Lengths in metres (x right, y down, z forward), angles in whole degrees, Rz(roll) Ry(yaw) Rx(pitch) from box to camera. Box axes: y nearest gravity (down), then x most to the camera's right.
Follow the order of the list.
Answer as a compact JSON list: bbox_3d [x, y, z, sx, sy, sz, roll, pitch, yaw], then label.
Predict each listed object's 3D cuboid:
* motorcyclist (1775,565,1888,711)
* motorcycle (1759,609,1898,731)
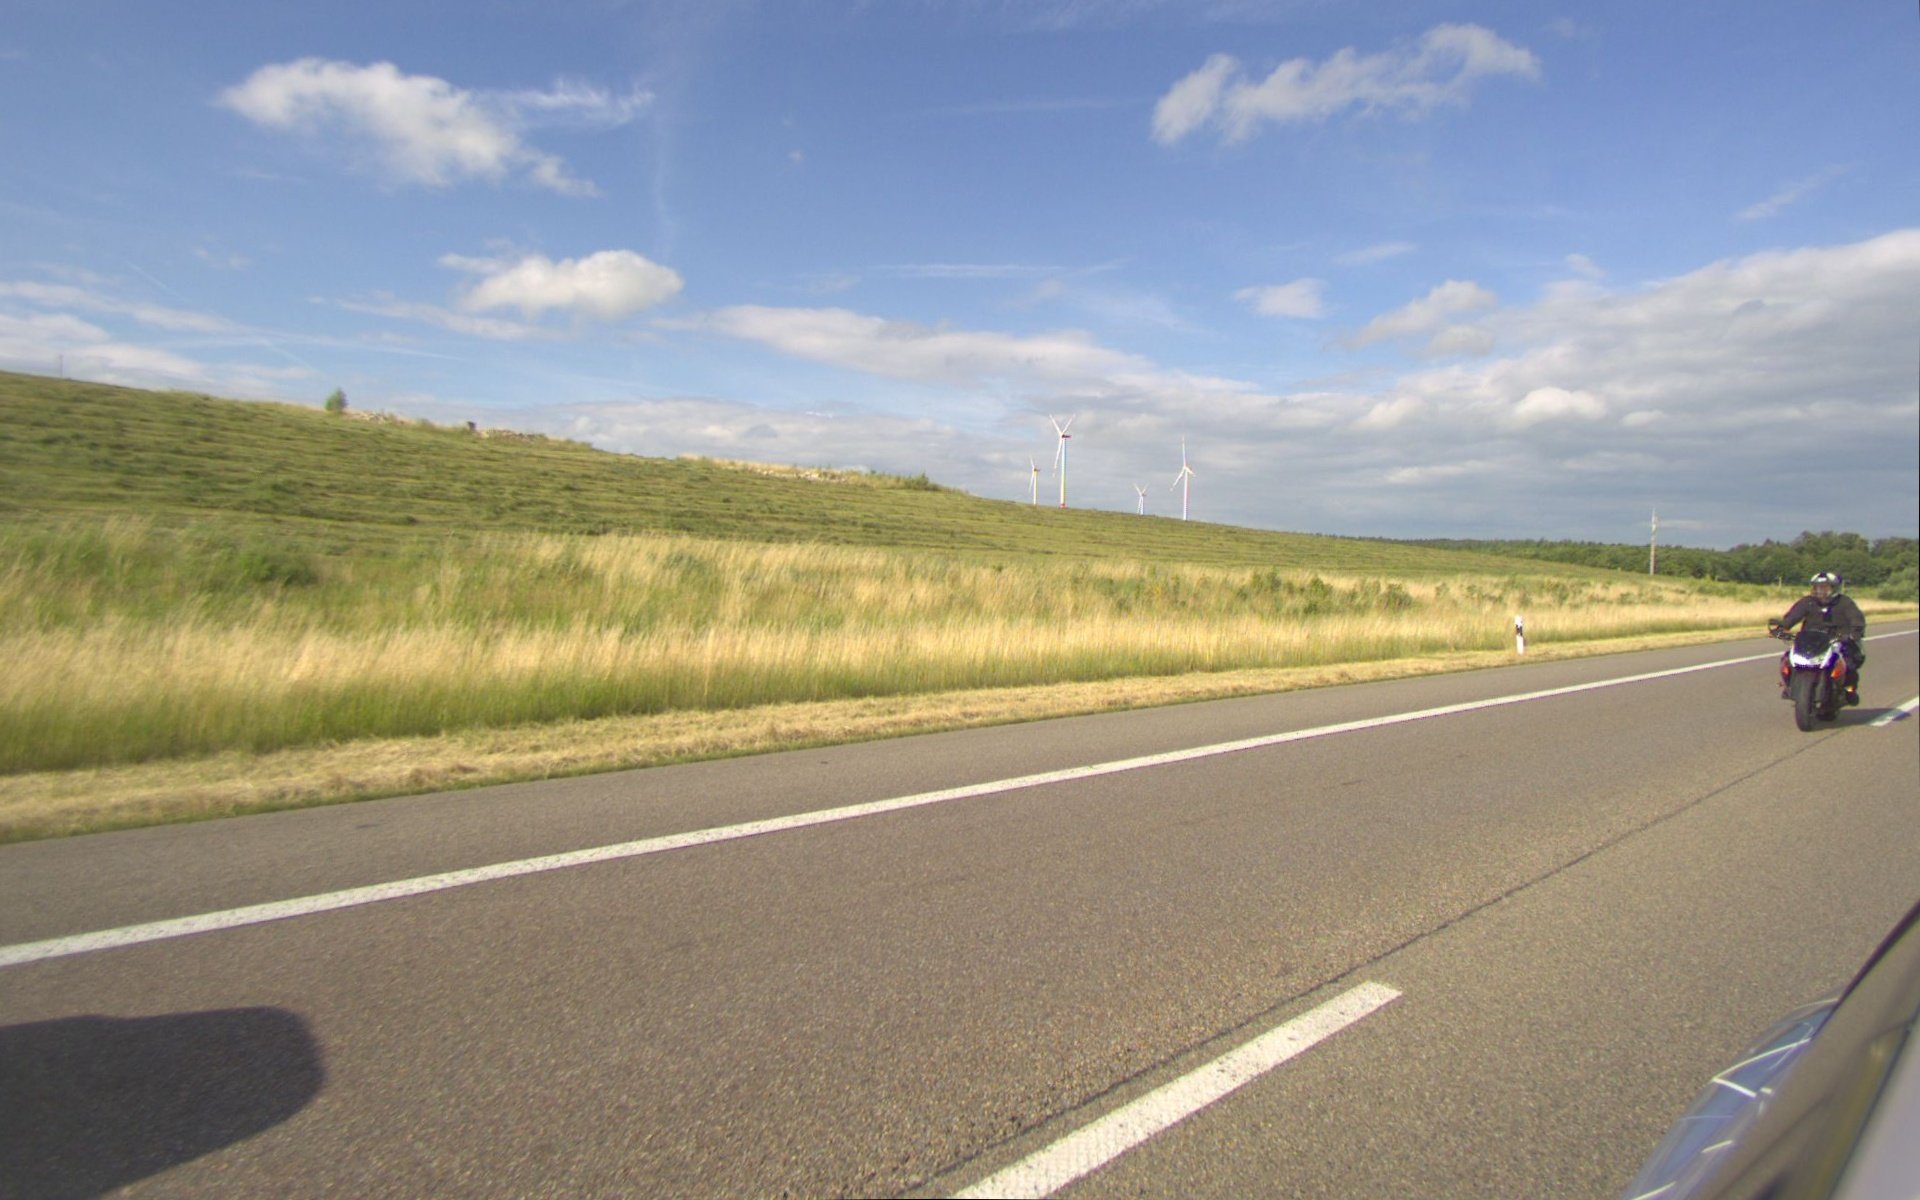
[{"bbox_3d":[9.950,0.401,11.555,0.918,1.579,0.851,-1,0,-41],"label":"motorcyclist"},{"bbox_3d":[9.919,0.733,11.524,2.217,1.205,0.897,-1,1,-41],"label":"motorcycle"}]
